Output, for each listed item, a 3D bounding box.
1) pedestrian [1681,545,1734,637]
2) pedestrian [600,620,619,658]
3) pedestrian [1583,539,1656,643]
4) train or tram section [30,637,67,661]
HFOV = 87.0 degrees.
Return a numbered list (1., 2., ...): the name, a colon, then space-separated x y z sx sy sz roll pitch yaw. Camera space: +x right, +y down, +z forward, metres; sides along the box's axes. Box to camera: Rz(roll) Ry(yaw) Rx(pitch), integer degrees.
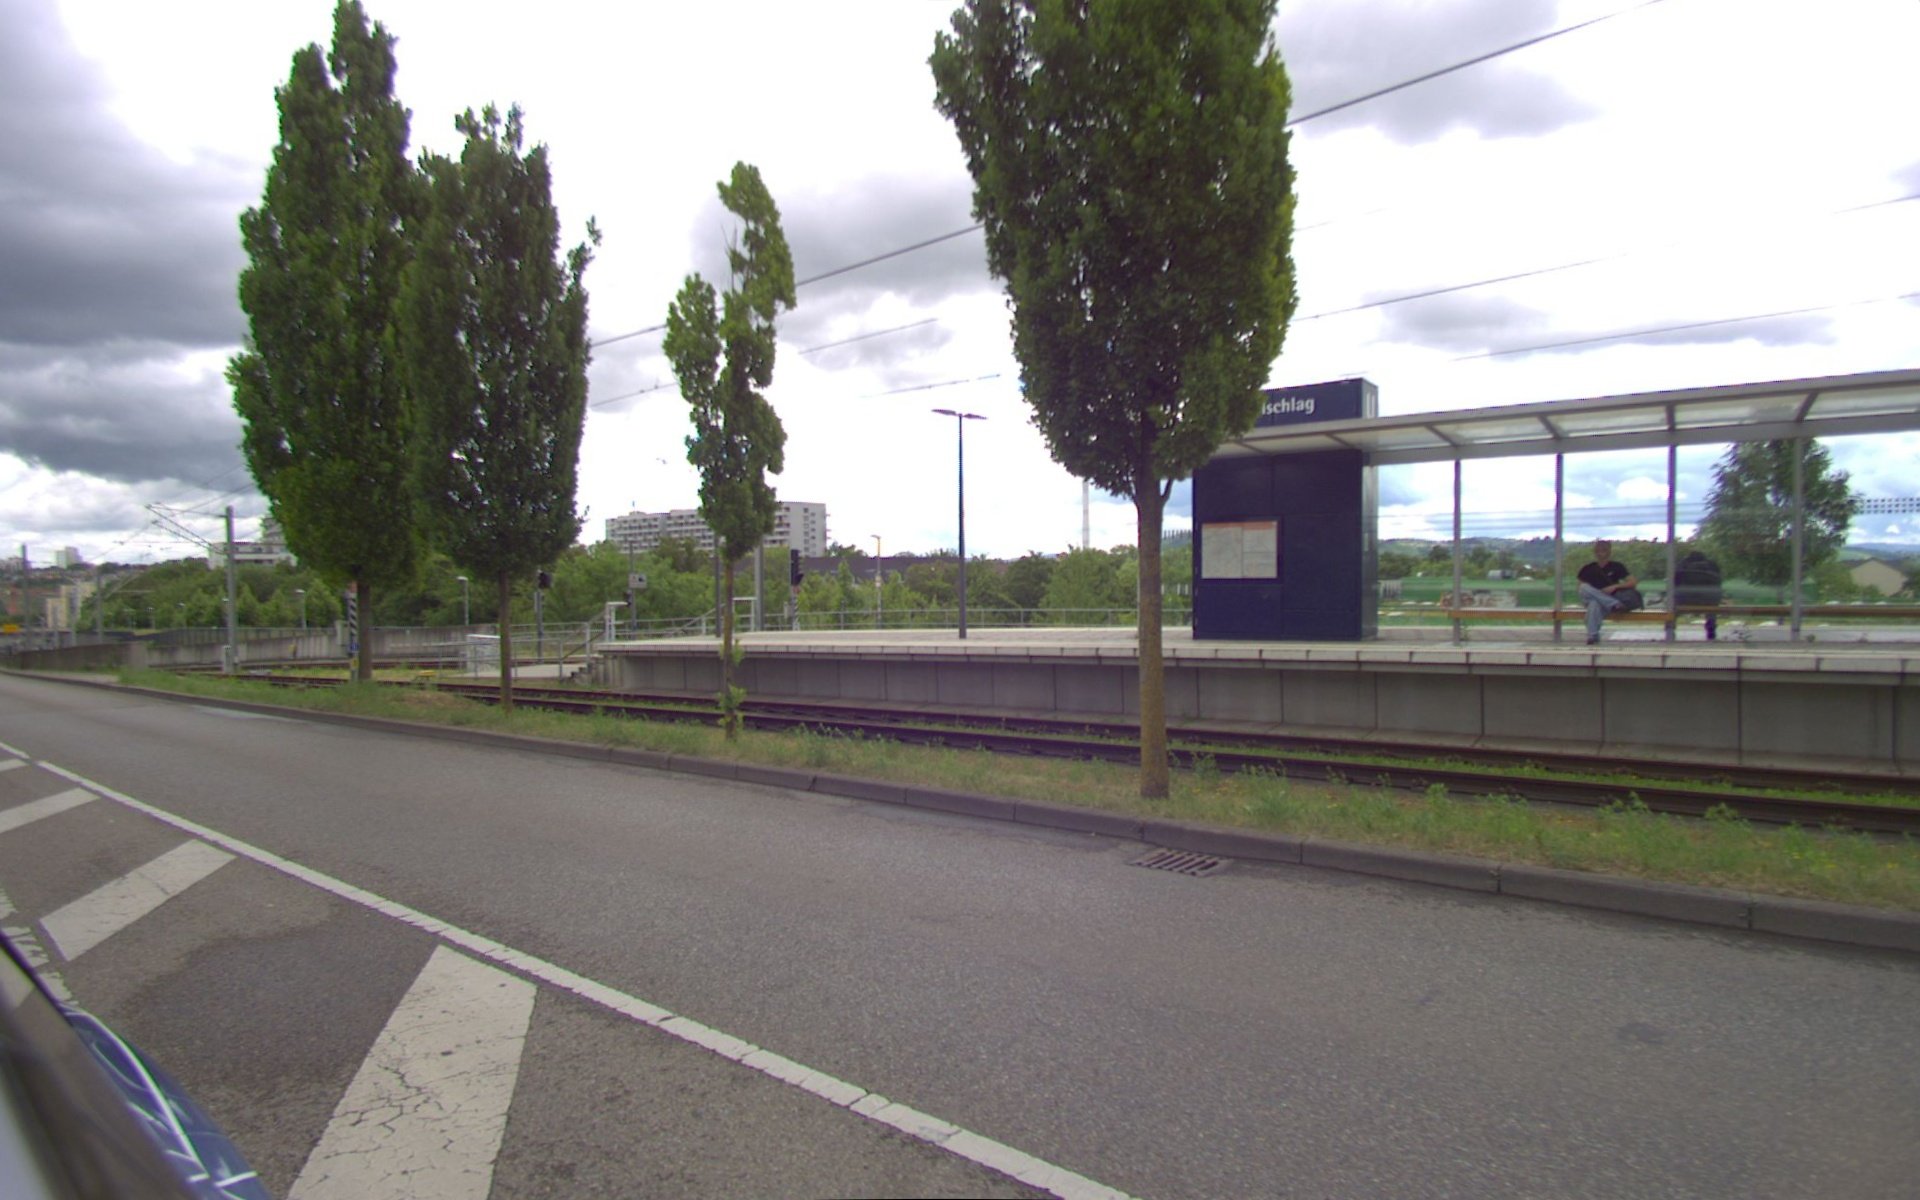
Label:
1. pedestrian: 9.120 -0.103 12.341 0.469 1.087 0.601 -3 -2 38
2. pedestrian: -15.210 1.693 43.943 0.646 1.637 0.502 -3 -2 44
3. pedestrian: 7.987 -0.102 12.251 0.664 1.208 0.754 -2 -1 38
4. train or tram section: -133.491 7.155 148.086 18.476 3.218 2.750 -3 -2 44
